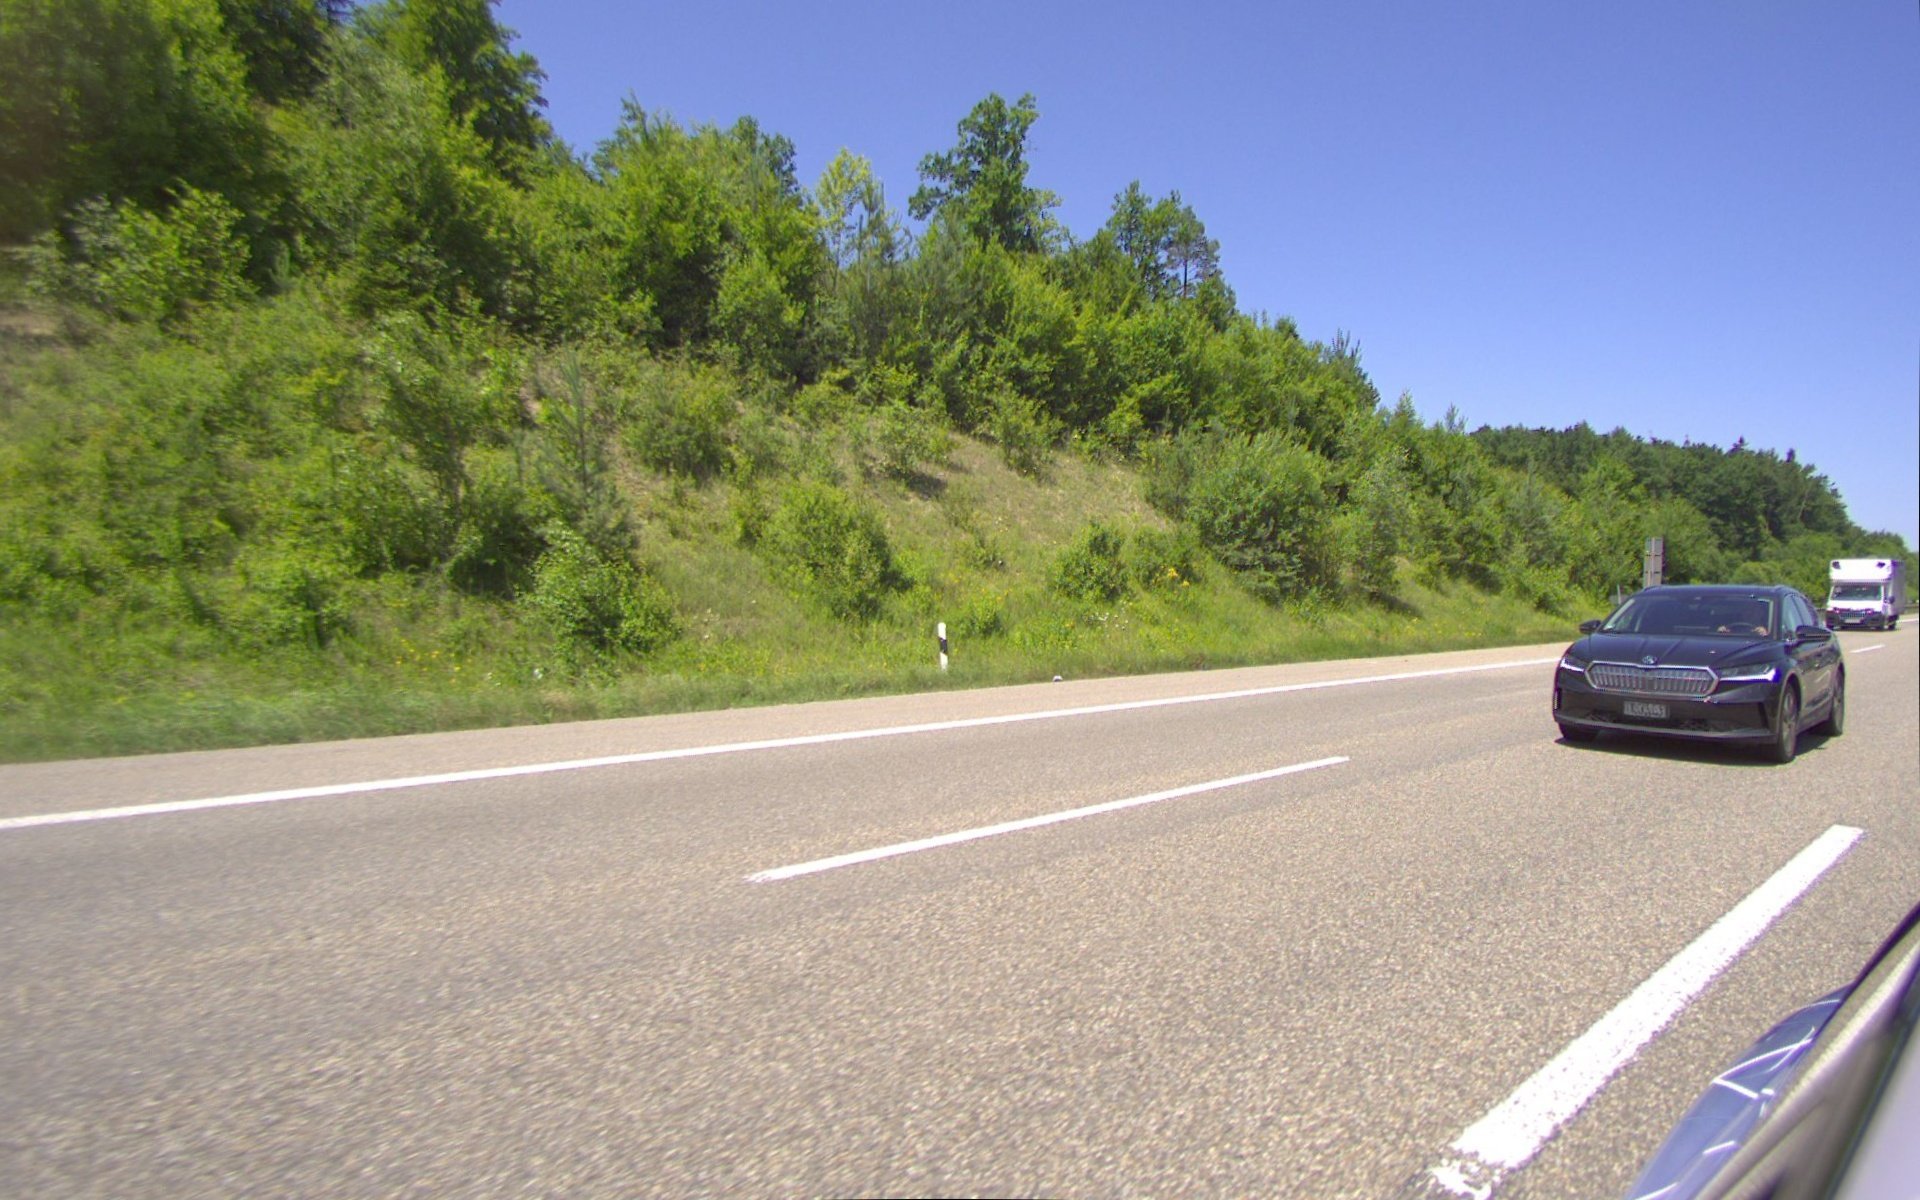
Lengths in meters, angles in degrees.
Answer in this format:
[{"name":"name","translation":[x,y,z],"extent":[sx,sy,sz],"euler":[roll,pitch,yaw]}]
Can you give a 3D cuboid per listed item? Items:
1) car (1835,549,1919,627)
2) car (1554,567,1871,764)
[{"name":"car","translation":[42.850,-0.572,47.067],"extent":[7.491,3.378,2.300],"euler":[-1,1,-42]},{"name":"car","translation":[8.053,0.488,10.665],"extent":[4.384,1.639,1.986],"euler":[-1,2,-44]}]
